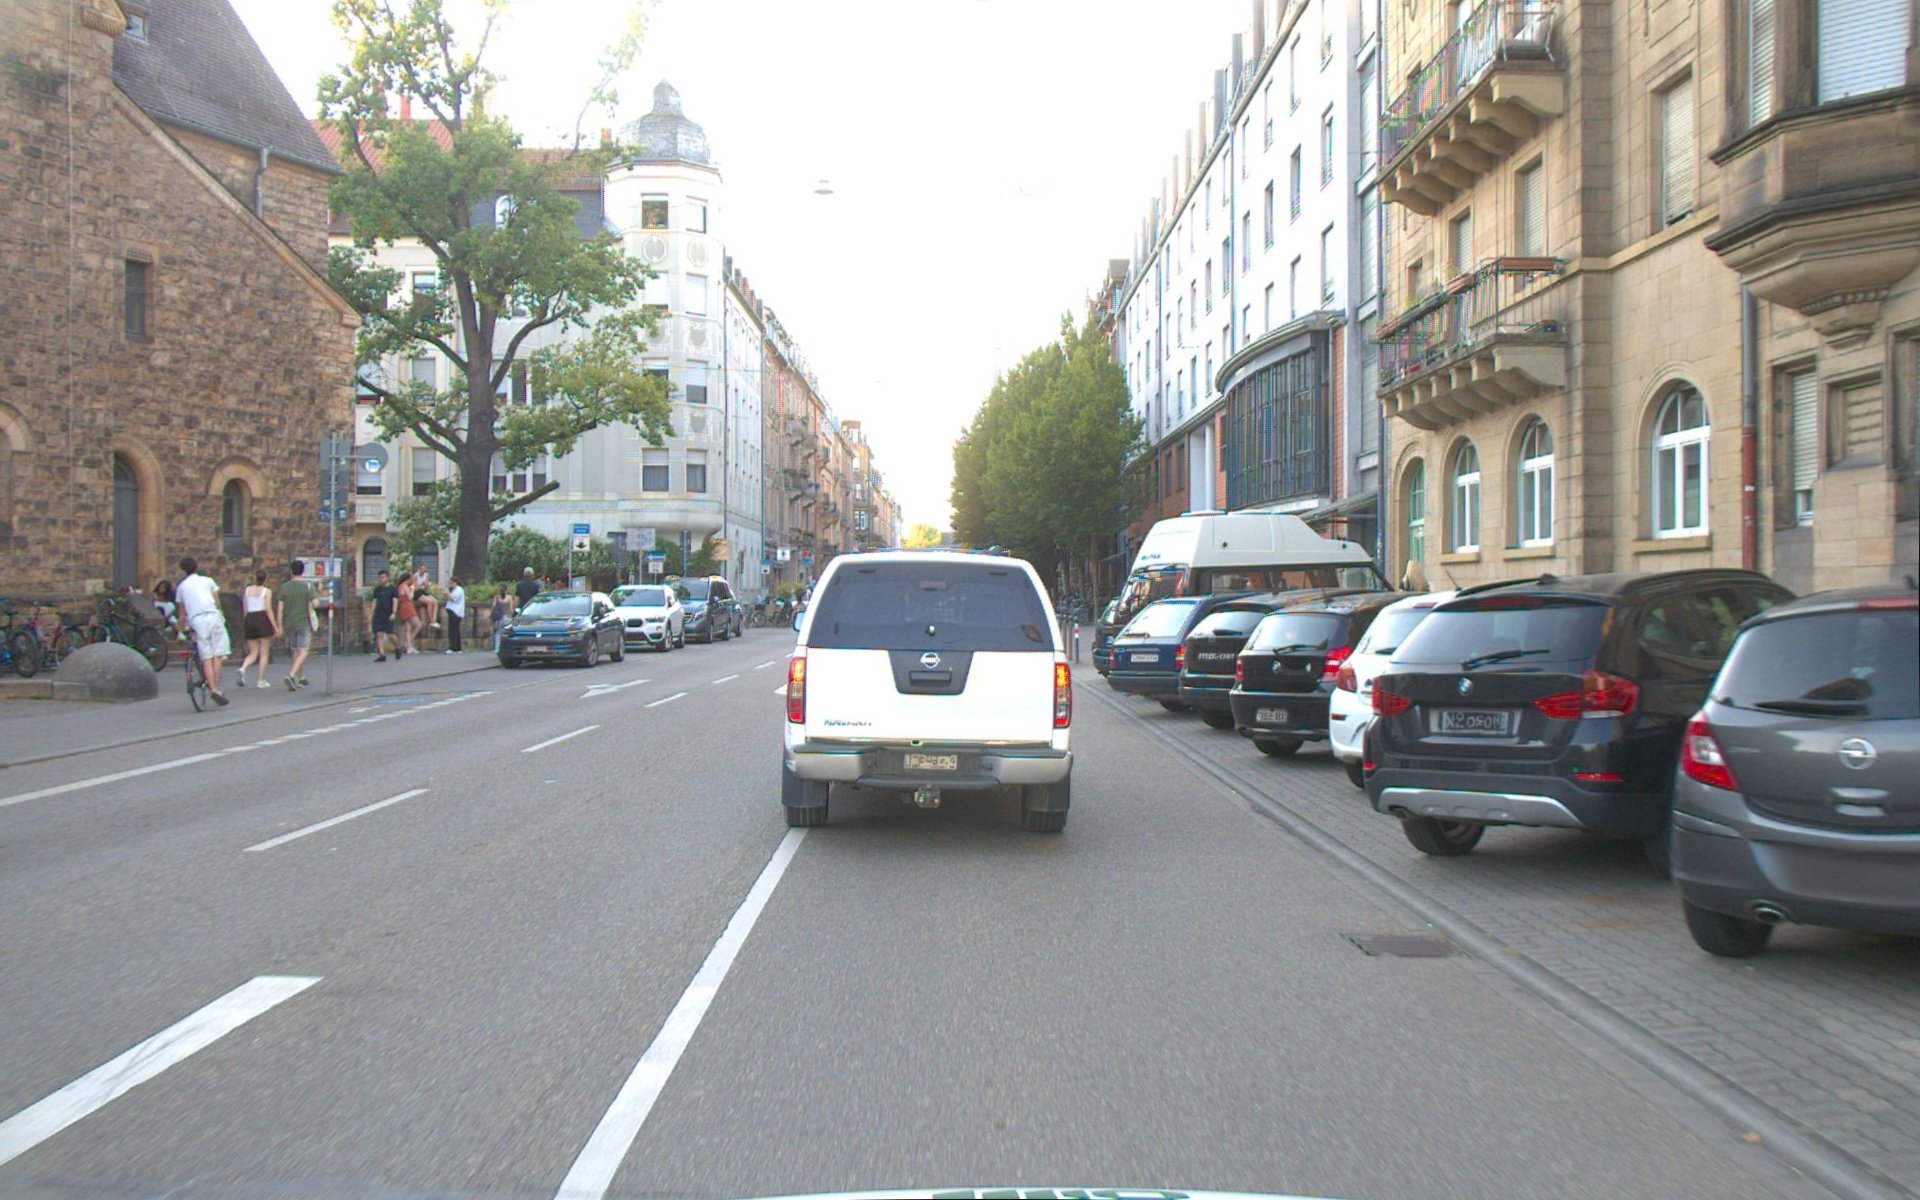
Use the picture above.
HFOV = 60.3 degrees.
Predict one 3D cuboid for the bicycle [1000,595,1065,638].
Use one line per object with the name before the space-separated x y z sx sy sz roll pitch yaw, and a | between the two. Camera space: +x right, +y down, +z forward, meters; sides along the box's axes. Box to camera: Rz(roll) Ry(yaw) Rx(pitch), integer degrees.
bicycle | 2.144 0.488 48.988 1.821 1.166 0.659 -3 0 -1

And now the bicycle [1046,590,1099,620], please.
bicycle | 5.346 0.241 78.403 2.482 1.403 0.599 0 0 2

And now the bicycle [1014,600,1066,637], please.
bicycle | 2.437 0.556 50.182 1.509 1.056 0.471 -2 0 -2

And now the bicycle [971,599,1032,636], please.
bicycle | 1.264 0.538 50.762 1.820 1.056 0.471 -2 0 -2

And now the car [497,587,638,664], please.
car | -7.833 0.477 33.409 1.746 1.460 4.316 0 0 1

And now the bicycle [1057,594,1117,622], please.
bicycle | 5.340 0.328 69.684 2.482 1.187 0.562 0 0 2

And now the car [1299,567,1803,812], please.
car | 4.683 0.591 12.902 4.013 1.524 1.732 -3 0 -36

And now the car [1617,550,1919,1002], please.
car | 4.629 0.559 7.201 3.883 1.571 1.691 -2 -1 -42

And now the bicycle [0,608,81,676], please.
bicycle | -14.269 0.628 25.128 1.838 1.006 0.370 0 0 15

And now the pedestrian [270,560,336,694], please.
pedestrian | -9.543 0.383 24.045 0.634 1.912 0.890 0 0 -4

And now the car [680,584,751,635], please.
car | -7.897 0.274 53.670 1.606 1.583 4.005 0 0 2

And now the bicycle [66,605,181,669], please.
bicycle | -13.550 0.594 26.786 1.838 1.006 0.442 0 0 15

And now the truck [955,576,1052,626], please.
truck | 2.812 0.093 107.139 6.190 3.029 2.264 1 -3 1

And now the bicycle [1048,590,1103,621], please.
bicycle | 5.320 0.239 76.218 2.482 1.403 0.599 0 0 2

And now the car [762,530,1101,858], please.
car | -0.196 0.535 11.786 1.894 1.826 4.621 2 0 -1

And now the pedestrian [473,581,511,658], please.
pedestrian | -9.735 0.397 34.449 0.570 1.579 0.839 1 0 -4

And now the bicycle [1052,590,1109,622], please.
bicycle | 5.297 0.272 72.688 2.482 1.403 0.599 0 0 2

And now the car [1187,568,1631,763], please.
car | 4.237 0.539 15.413 3.989 1.456 1.845 -3 0 -35

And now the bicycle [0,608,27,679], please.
bicycle | -14.628 0.626 24.175 1.959 1.006 0.466 0 0 15

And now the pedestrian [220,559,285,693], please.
pedestrian | -10.226 0.366 23.929 0.561 1.889 0.988 0 0 -4

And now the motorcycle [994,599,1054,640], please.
motorcycle | 1.842 0.562 47.877 1.614 1.121 0.646 -3 0 -9

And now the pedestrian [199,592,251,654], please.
pedestrian | -12.933 0.401 29.109 0.505 1.074 0.700 0 0 16

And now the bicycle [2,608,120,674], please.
bicycle | -13.913 0.631 25.597 1.838 1.006 0.370 0 0 14

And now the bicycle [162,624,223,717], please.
bicycle | -9.549 0.853 20.614 0.544 1.030 2.173 1 0 -22

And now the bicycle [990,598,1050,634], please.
bicycle | 1.870 0.504 51.422 1.820 1.056 0.402 -2 0 -2

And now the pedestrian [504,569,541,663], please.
pedestrian | -9.126 0.334 34.519 0.570 1.938 0.802 0 0 -4

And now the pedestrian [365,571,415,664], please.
pedestrian | -10.851 0.327 31.485 0.699 1.755 0.692 0 0 0

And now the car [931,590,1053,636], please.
car | 1.129 0.441 57.505 3.945 1.533 1.753 0 0 -30

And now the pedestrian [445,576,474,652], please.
pedestrian | -10.852 0.301 35.872 0.411 1.650 0.540 0 0 -40

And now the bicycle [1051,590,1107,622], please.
bicycle | 5.267 0.271 73.402 2.482 1.403 0.599 0 0 2

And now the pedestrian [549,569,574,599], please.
pedestrian | -13.727 -0.548 57.016 0.692 0.997 0.836 0 0 -2

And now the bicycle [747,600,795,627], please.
bicycle | -7.946 0.564 69.465 2.068 1.114 0.501 1 1 25

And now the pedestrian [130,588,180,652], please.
pedestrian | -13.641 0.335 28.017 0.729 1.066 0.515 0 0 -31

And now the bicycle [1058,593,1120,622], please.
bicycle | 5.280 0.305 67.800 2.482 1.187 0.562 0 0 2

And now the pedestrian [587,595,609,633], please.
pedestrian | -14.403 0.549 65.838 0.687 1.495 0.783 -1 0 -2

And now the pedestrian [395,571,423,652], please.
pedestrian | -11.785 0.244 35.382 0.411 1.704 0.540 0 0 -40

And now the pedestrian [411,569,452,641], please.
pedestrian | -11.570 0.108 36.227 0.637 1.572 0.585 0 0 23

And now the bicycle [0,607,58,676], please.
bicycle | -14.458 0.619 24.698 1.942 1.006 0.466 0 0 15

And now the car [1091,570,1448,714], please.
car | 3.980 0.472 21.074 4.341 1.512 1.824 -3 1 -31

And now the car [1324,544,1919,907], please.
car | 4.161 0.558 9.690 4.058 1.635 1.791 -3 0 -39

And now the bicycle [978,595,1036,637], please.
bicycle | 1.418 0.476 49.658 1.673 1.196 0.471 -2 0 -2

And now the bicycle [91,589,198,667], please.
bicycle | -13.430 0.453 27.249 1.691 1.270 0.437 0 0 14

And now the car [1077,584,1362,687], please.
car | 4.177 0.514 26.526 4.294 1.529 1.895 0 0 -29

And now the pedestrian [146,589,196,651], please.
pedestrian | -13.708 0.346 28.743 0.487 1.066 0.608 0 0 20

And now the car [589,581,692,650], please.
car | -7.938 0.363 41.417 1.833 1.619 4.467 0 0 -2

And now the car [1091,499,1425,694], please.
car | 4.357 -0.047 24.006 4.660 2.591 1.899 0 -1 -30

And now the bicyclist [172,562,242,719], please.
bicyclist | -9.418 0.491 20.719 0.695 1.913 0.937 1 0 -21

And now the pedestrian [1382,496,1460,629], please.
pedestrian | 7.532 -0.617 27.085 0.596 2.043 0.858 14 1 1

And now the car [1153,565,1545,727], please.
car | 4.335 0.476 18.351 4.063 1.573 1.778 -2 -2 -29

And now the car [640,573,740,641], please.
car | -7.848 0.176 48.540 1.952 1.899 5.290 0 0 1

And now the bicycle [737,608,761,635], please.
bicycle | -8.721 0.873 68.337 0.414 1.030 1.720 1 1 13

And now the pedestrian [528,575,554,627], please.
pedestrian | -14.441 0.029 56.981 0.692 1.751 0.836 0 0 -2
